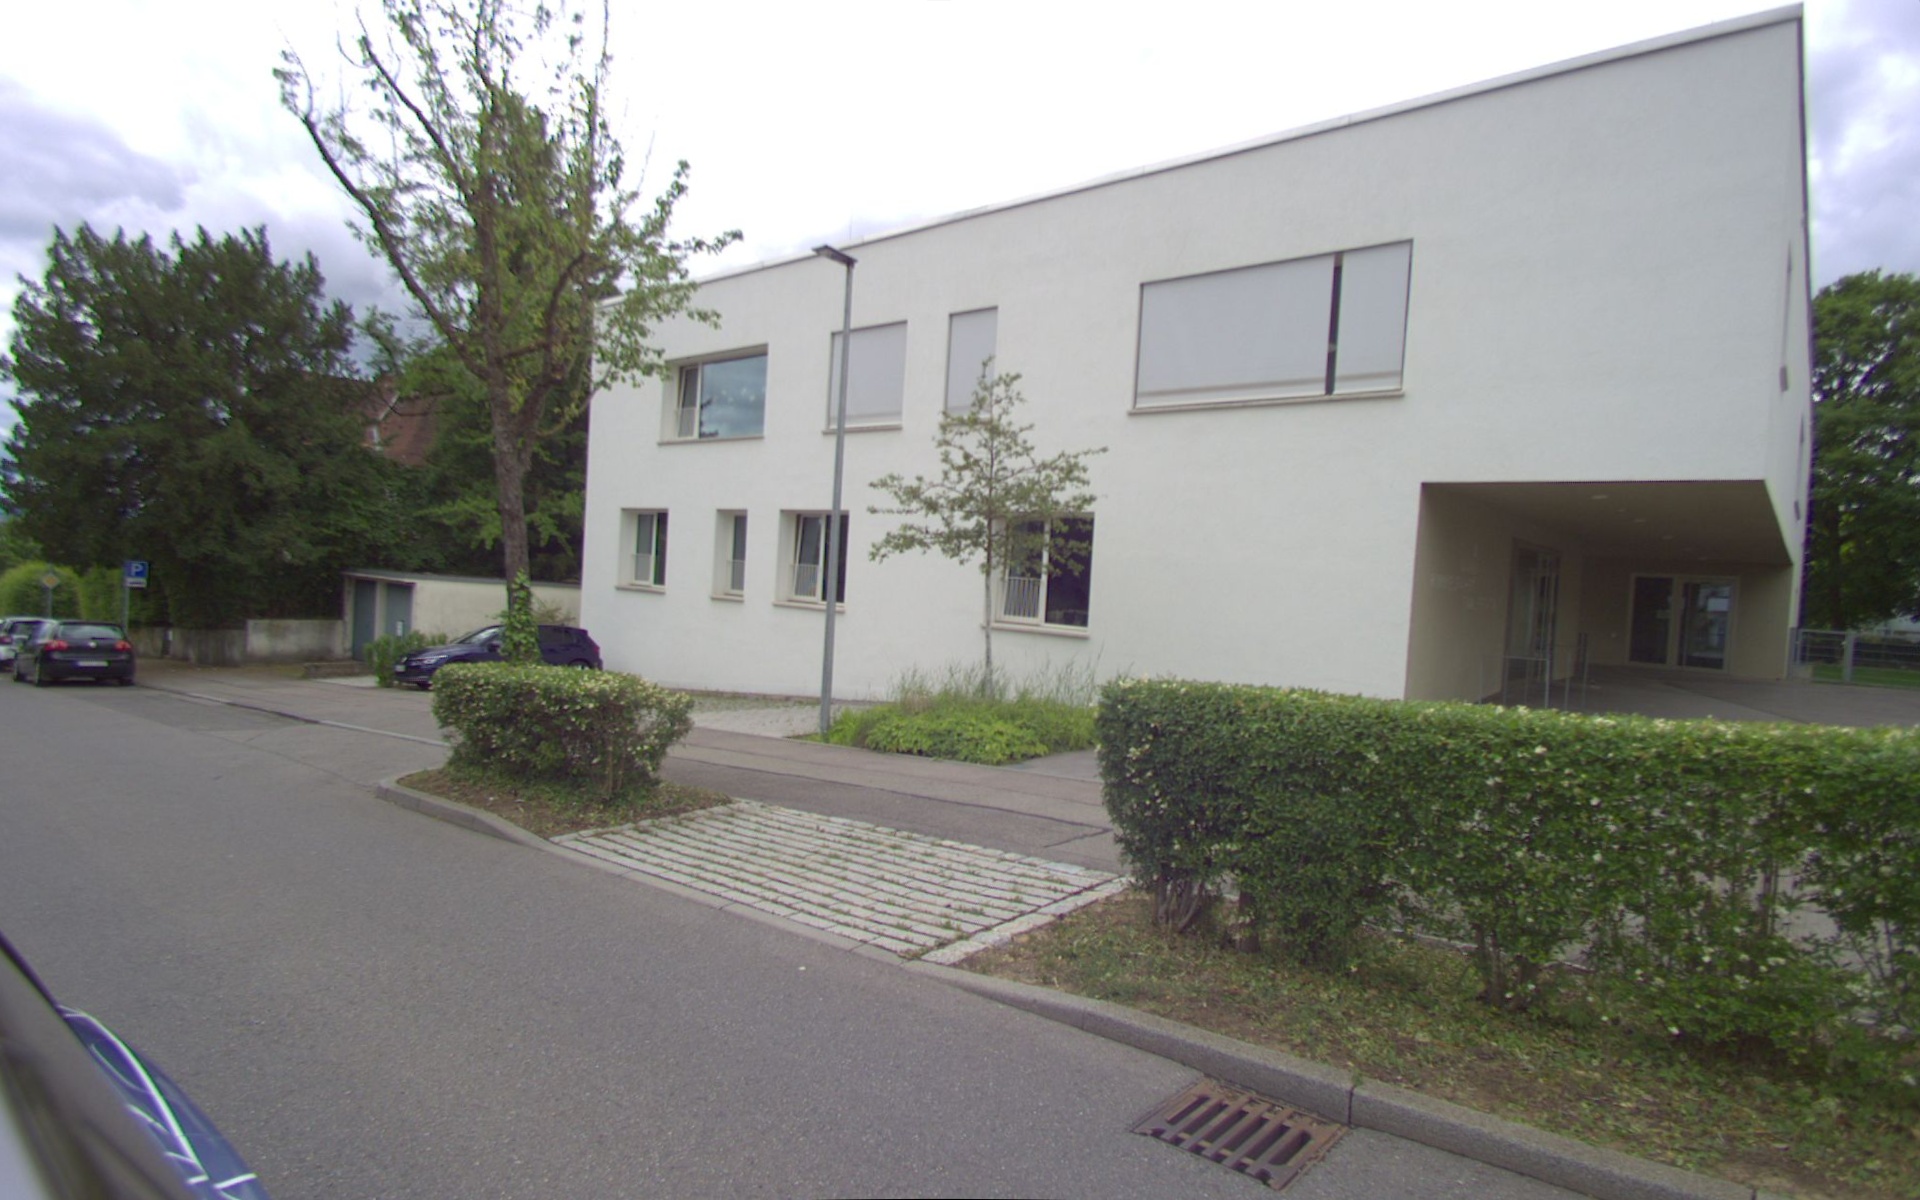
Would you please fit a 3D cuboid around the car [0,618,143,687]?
[{"bbox_3d":[-21.007,1.181,23.835,4.678,1.481,1.832,-1,-2,40],"label":"car"}]

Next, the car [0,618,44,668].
[{"bbox_3d":[-30.003,1.307,31.530,3.512,1.459,1.726,-1,-5,42],"label":"car"}]

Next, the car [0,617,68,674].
[{"bbox_3d":[-26.922,1.281,28.999,2.973,1.530,1.607,0,-1,40],"label":"car"}]

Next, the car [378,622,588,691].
[{"bbox_3d":[-10.264,1.167,21.969,1.741,1.364,3.754,-1,-2,42],"label":"car"}]
